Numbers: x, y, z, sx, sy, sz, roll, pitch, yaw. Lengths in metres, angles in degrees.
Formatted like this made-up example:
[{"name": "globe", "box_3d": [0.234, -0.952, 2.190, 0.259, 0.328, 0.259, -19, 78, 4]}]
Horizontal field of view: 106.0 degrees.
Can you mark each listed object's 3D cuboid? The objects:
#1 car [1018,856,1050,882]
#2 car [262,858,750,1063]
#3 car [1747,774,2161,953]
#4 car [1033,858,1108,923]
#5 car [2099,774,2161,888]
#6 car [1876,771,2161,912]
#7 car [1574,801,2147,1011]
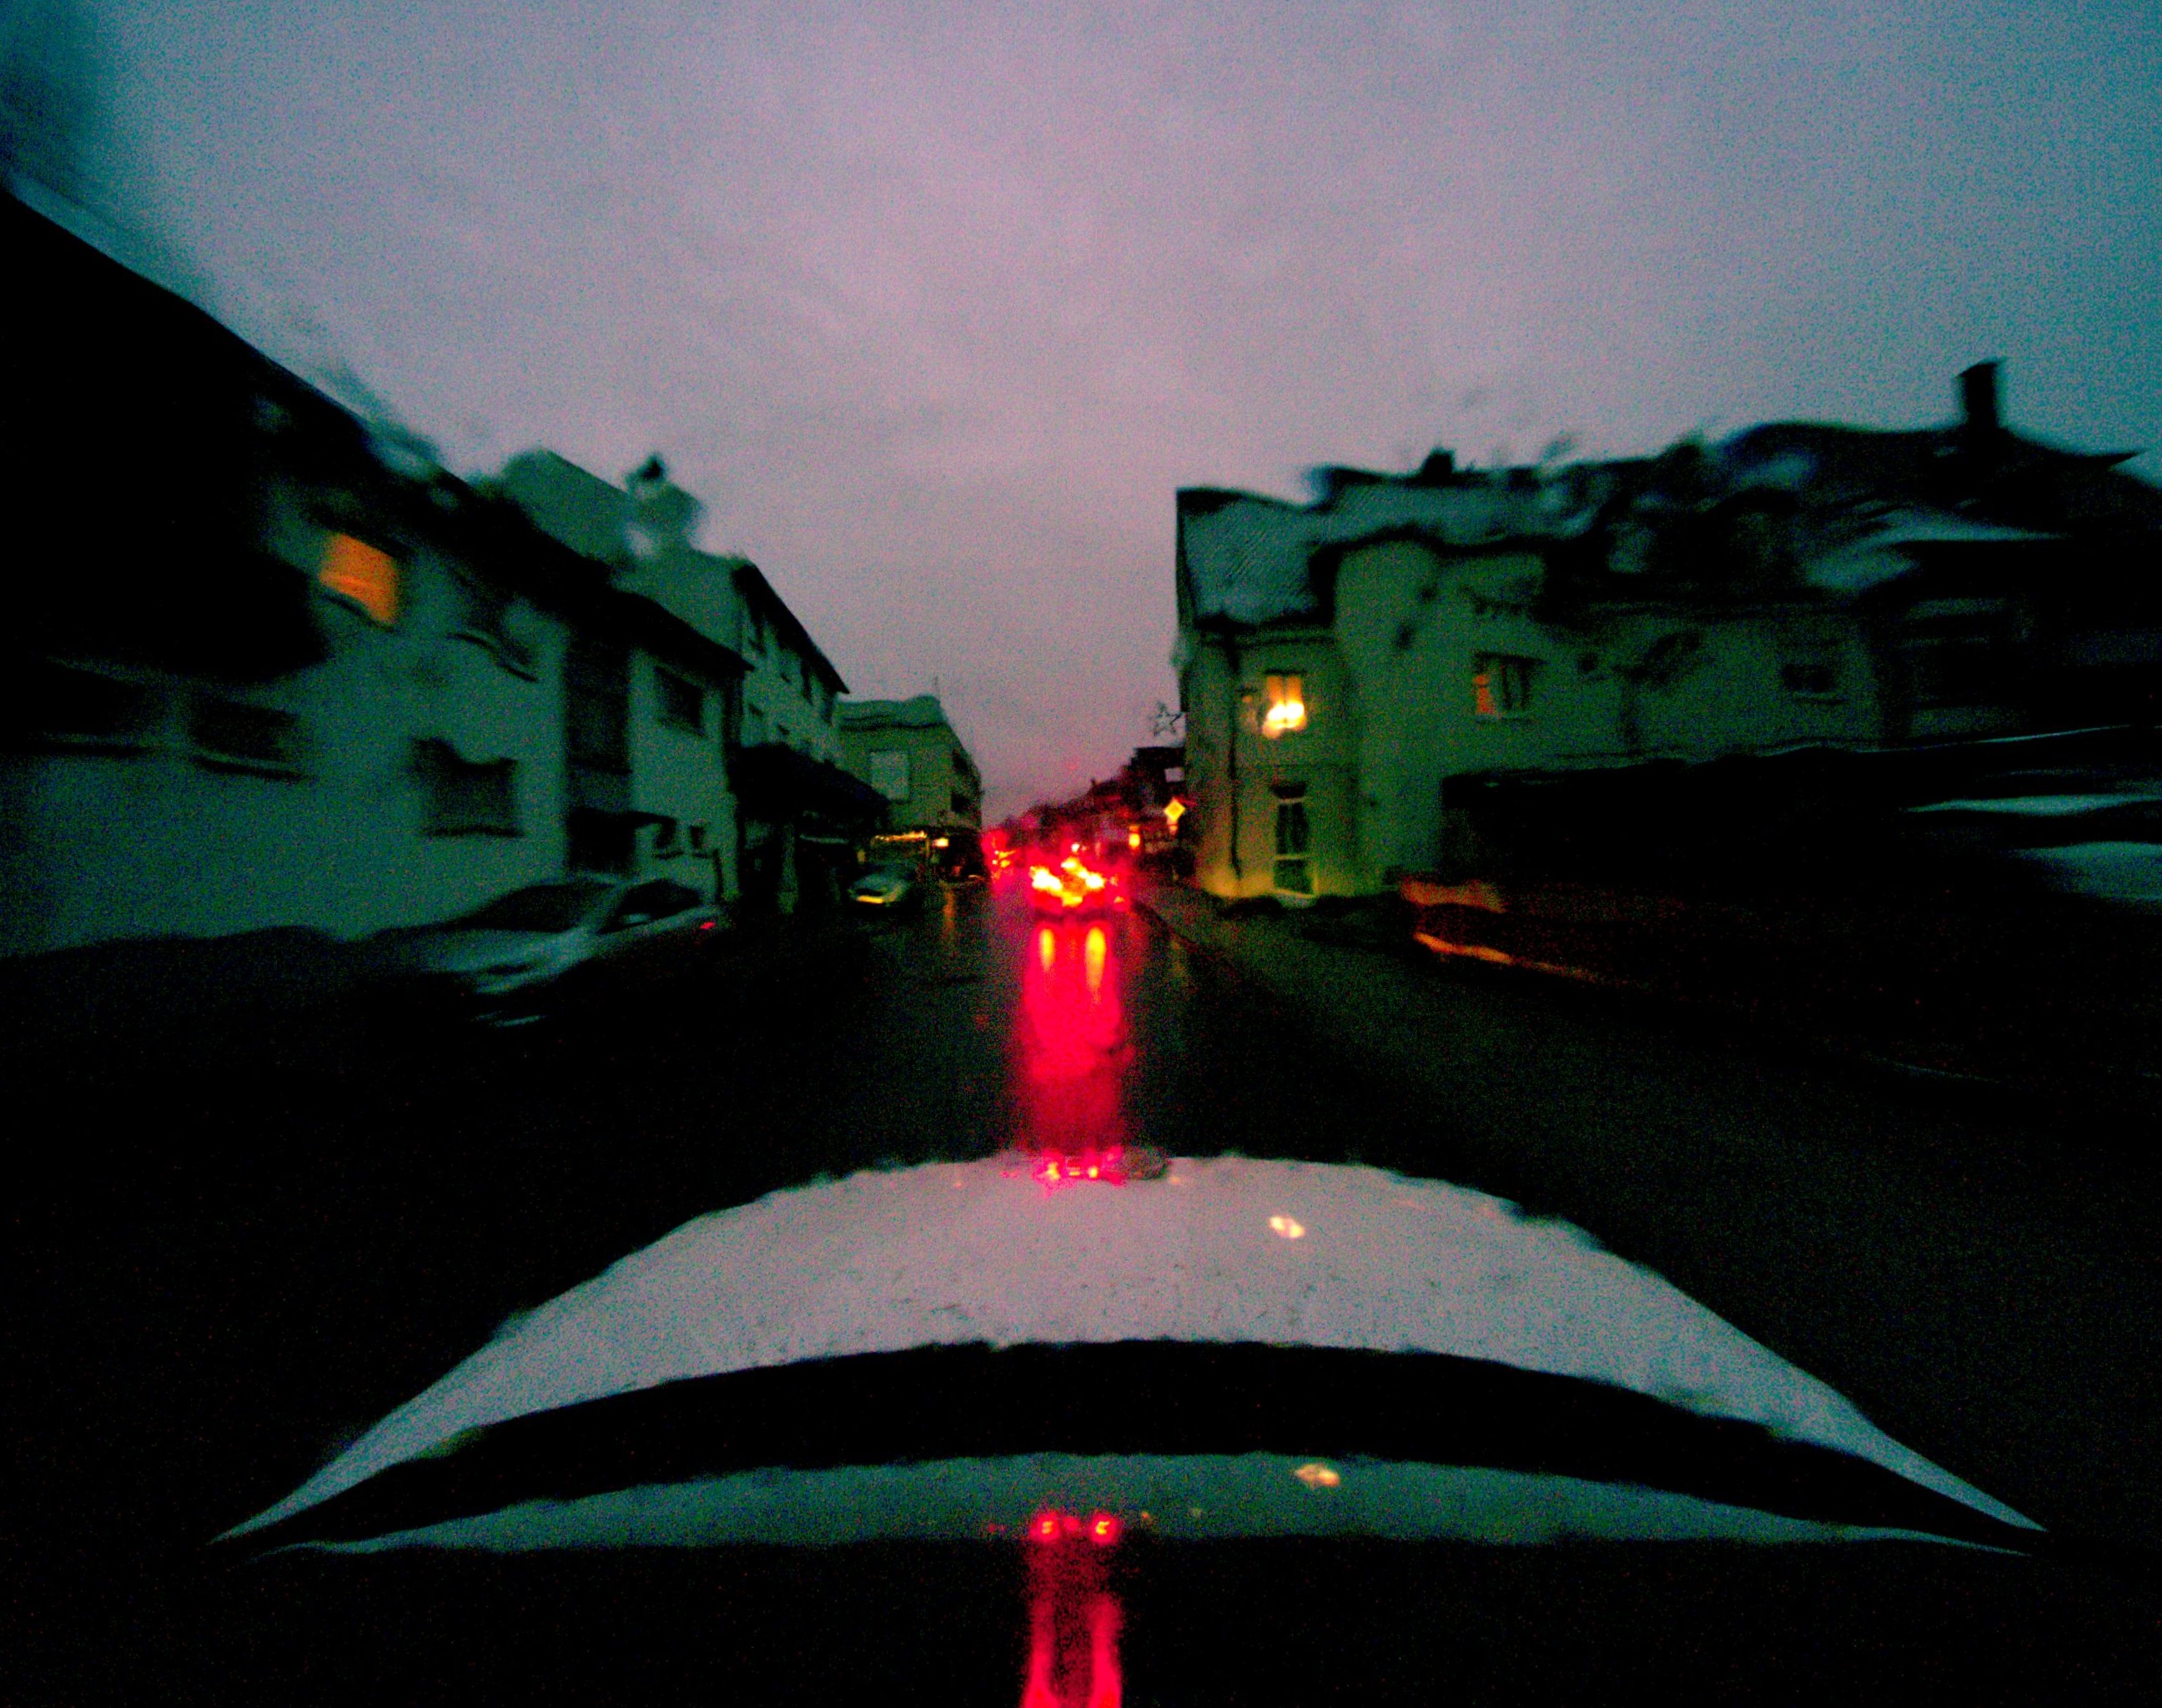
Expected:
[{"name": "car", "box_3d": [-3.074, 0.958, 54.194, 1.988, 1.588, 3.997, -1, 0, -2]}, {"name": "car", "box_3d": [-5.647, 0.880, 8.948, 1.904, 1.529, 4.551, 2, 1, 3]}, {"name": "car", "box_3d": [9.458, 0.030, 8.599, 1.717, 1.462, 3.630, -4, 0, -3]}, {"name": "car", "box_3d": [-0.327, 0.893, 21.803, 1.810, 1.533, 3.996, -1, 0, -2]}, {"name": "car", "box_3d": [14.681, -0.344, 8.763, 1.878, 1.462, 4.545, -5, 0, 4]}, {"name": "car", "box_3d": [12.177, -0.200, 9.323, 1.815, 1.462, 4.553, -4, 0, 4]}, {"name": "car", "box_3d": [6.897, 0.373, 7.831, 1.884, 1.462, 3.627, -2, 0, -5]}]
